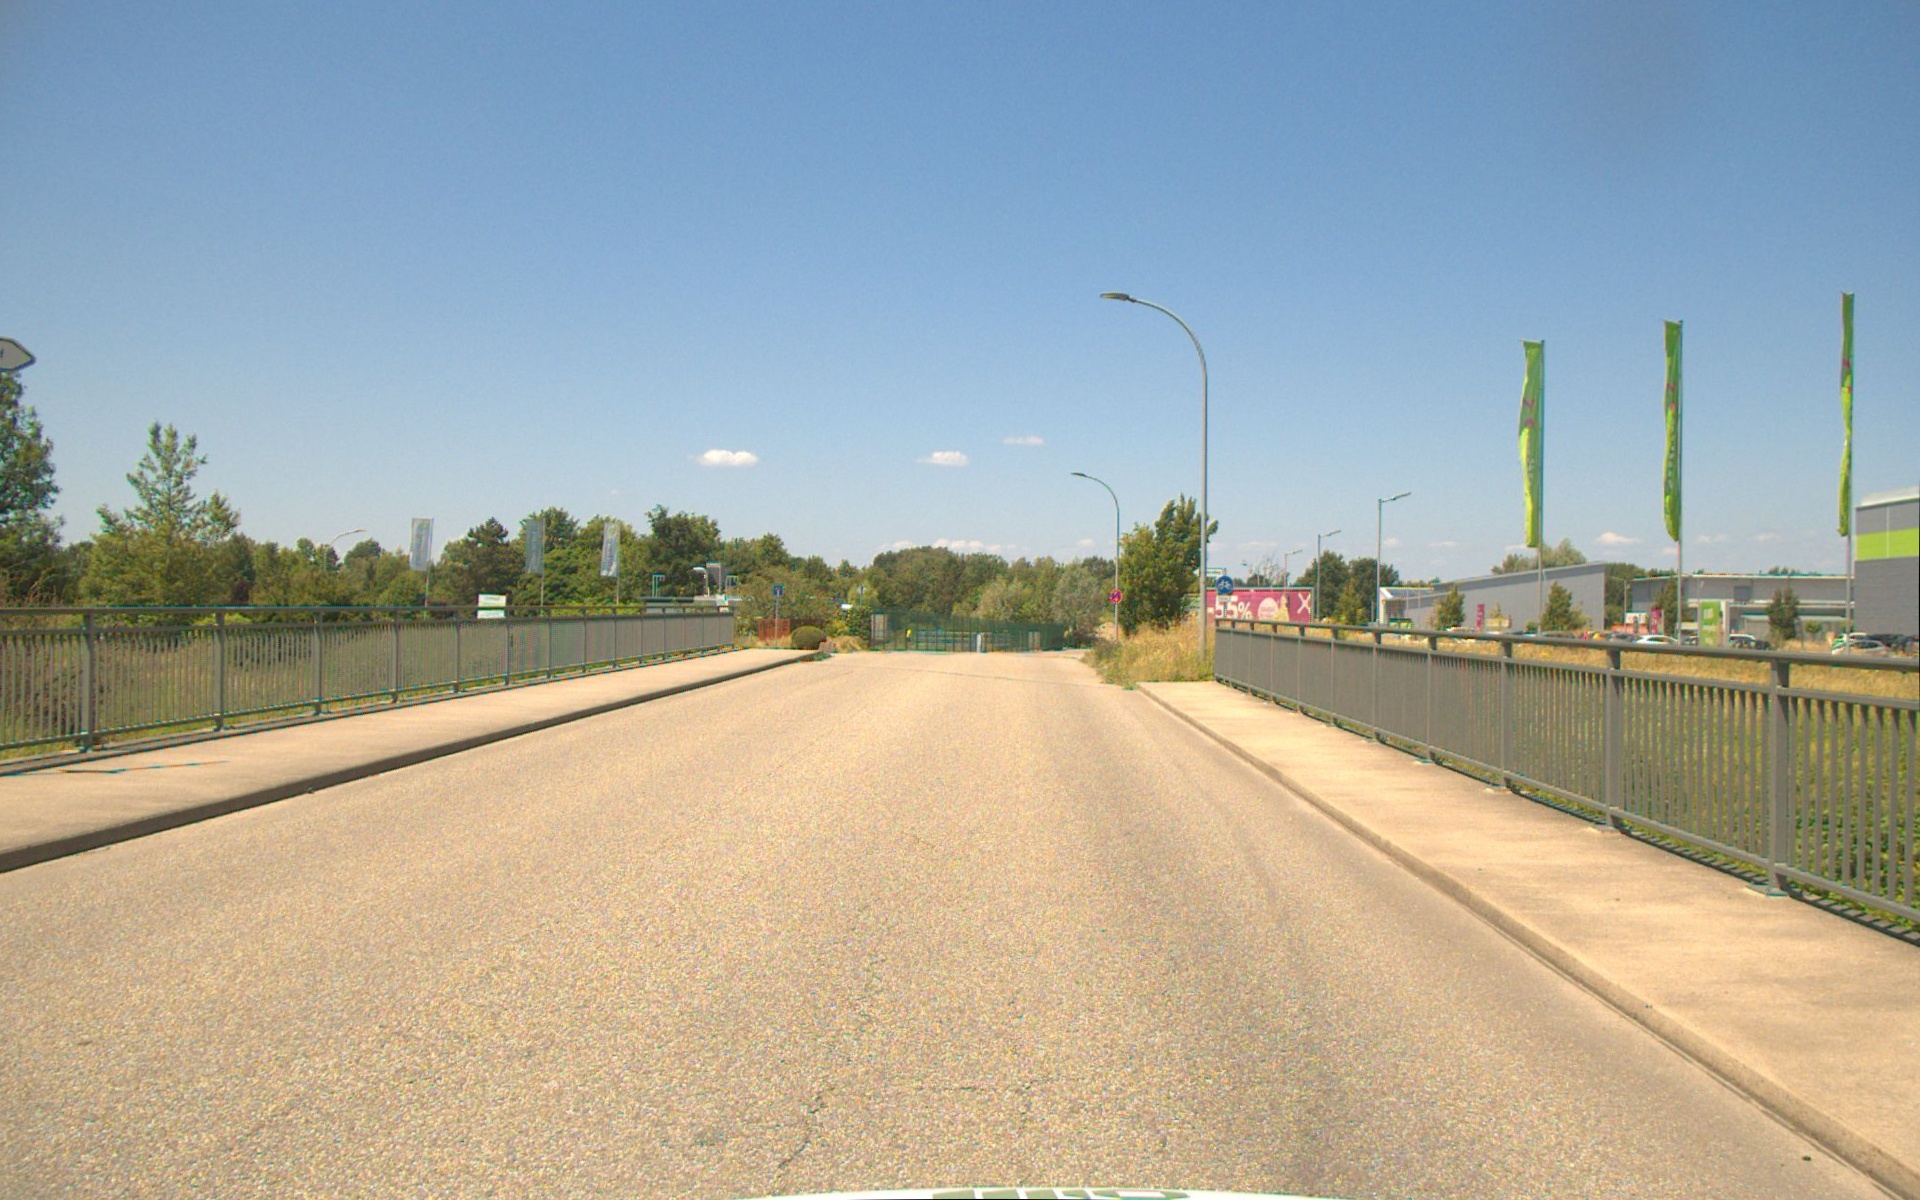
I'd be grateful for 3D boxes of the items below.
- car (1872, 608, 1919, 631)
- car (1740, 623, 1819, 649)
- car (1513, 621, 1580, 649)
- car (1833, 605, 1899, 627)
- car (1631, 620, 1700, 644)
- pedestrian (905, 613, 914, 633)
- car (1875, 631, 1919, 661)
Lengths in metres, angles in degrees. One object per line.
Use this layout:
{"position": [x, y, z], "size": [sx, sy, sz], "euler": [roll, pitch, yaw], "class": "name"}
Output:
{"position": [67.704, 1.376, 118.227], "size": [3.904, 1.546, 2.000], "euler": [1, -2, 2], "class": "car"}
{"position": [50.565, 2.240, 102.133], "size": [3.904, 1.546, 2.000], "euler": [1, -2, 1], "class": "car"}
{"position": [36.866, 2.177, 104.078], "size": [3.656, 1.598, 1.892], "euler": [2, 0, 8], "class": "car"}
{"position": [68.333, 1.224, 124.789], "size": [3.904, 1.546, 2.000], "euler": [1, -2, 2], "class": "car"}
{"position": [48.092, 2.211, 112.760], "size": [3.902, 1.546, 2.001], "euler": [1, -2, 6], "class": "car"}
{"position": [-4.678, 2.157, 153.318], "size": [0.593, 1.871, 0.805], "euler": [0, -2, 10], "class": "pedestrian"}
{"position": [51.236, 2.448, 88.124], "size": [3.903, 1.546, 2.000], "euler": [1, -2, 3], "class": "car"}
